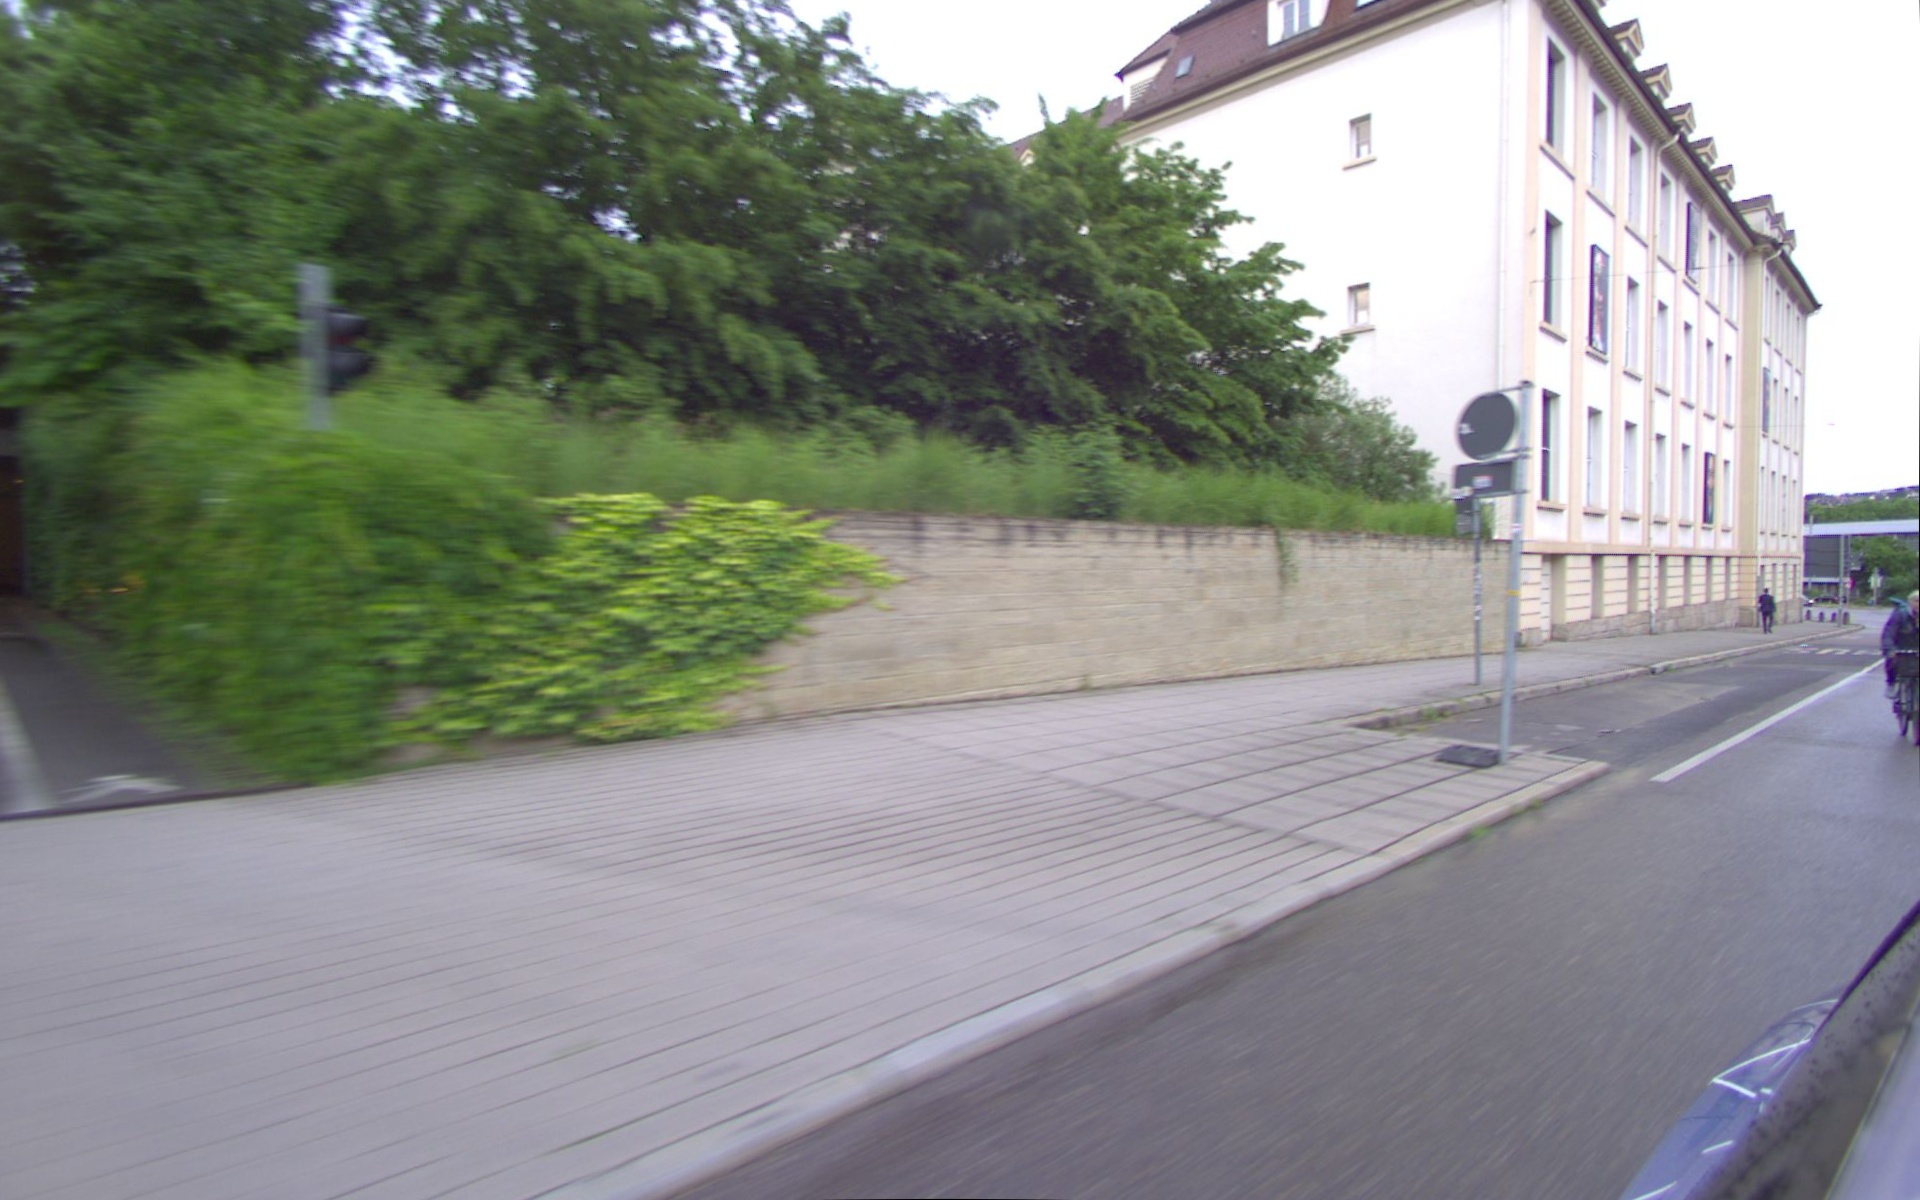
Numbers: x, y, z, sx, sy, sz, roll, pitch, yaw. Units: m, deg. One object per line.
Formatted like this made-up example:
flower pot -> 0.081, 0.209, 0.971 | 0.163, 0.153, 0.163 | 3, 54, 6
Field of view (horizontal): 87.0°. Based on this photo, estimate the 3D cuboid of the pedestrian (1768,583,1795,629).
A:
pedestrian -> 32.824, 0.223, 40.422 | 0.837, 1.820, 0.671 | 0, 2, -42

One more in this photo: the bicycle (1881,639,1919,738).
bicycle -> 10.477, 0.944, 11.057 | 1.661, 0.975, 0.448 | 1, 0, -42

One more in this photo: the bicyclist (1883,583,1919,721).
bicyclist -> 10.472, 0.543, 11.058 | 0.914, 1.451, 0.485 | -1, 1, -42
